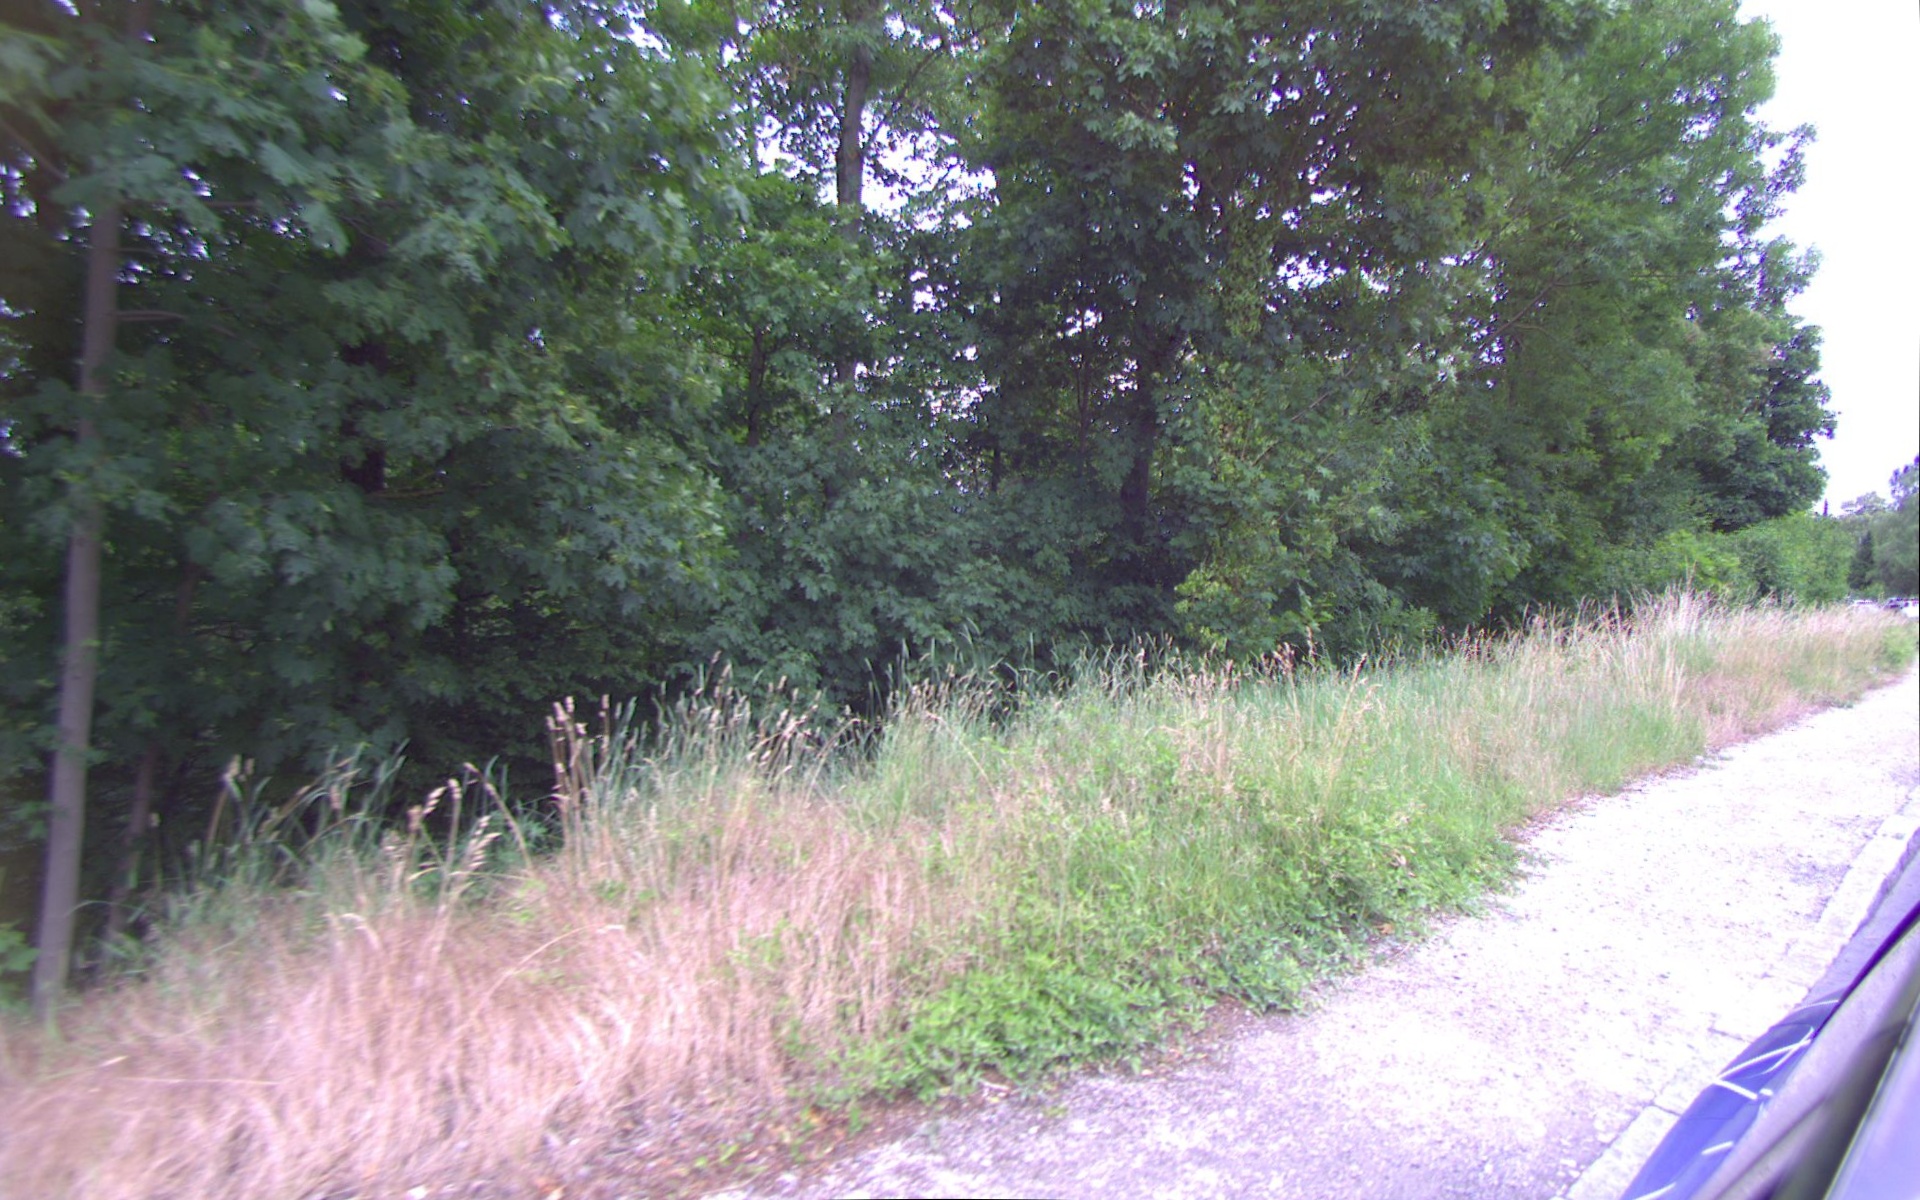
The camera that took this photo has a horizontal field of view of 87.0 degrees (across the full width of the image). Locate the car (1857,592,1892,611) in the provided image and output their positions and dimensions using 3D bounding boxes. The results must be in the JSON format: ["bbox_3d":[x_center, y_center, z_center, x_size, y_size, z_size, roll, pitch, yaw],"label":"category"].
[{"bbox_3d":[78.502,0.129,86.918,1.702,1.530,4.495,1,1,36],"label":"car"}]

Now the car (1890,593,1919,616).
[{"bbox_3d":[69.919,0.324,74.262,1.785,1.685,4.338,1,1,34],"label":"car"}]

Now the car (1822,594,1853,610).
[{"bbox_3d":[88.943,0.178,102.629,1.789,1.627,4.672,1,1,34],"label":"car"}]

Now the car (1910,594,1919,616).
[{"bbox_3d":[67.569,0.368,70.266,1.701,1.530,3.898,1,1,34],"label":"car"}]
